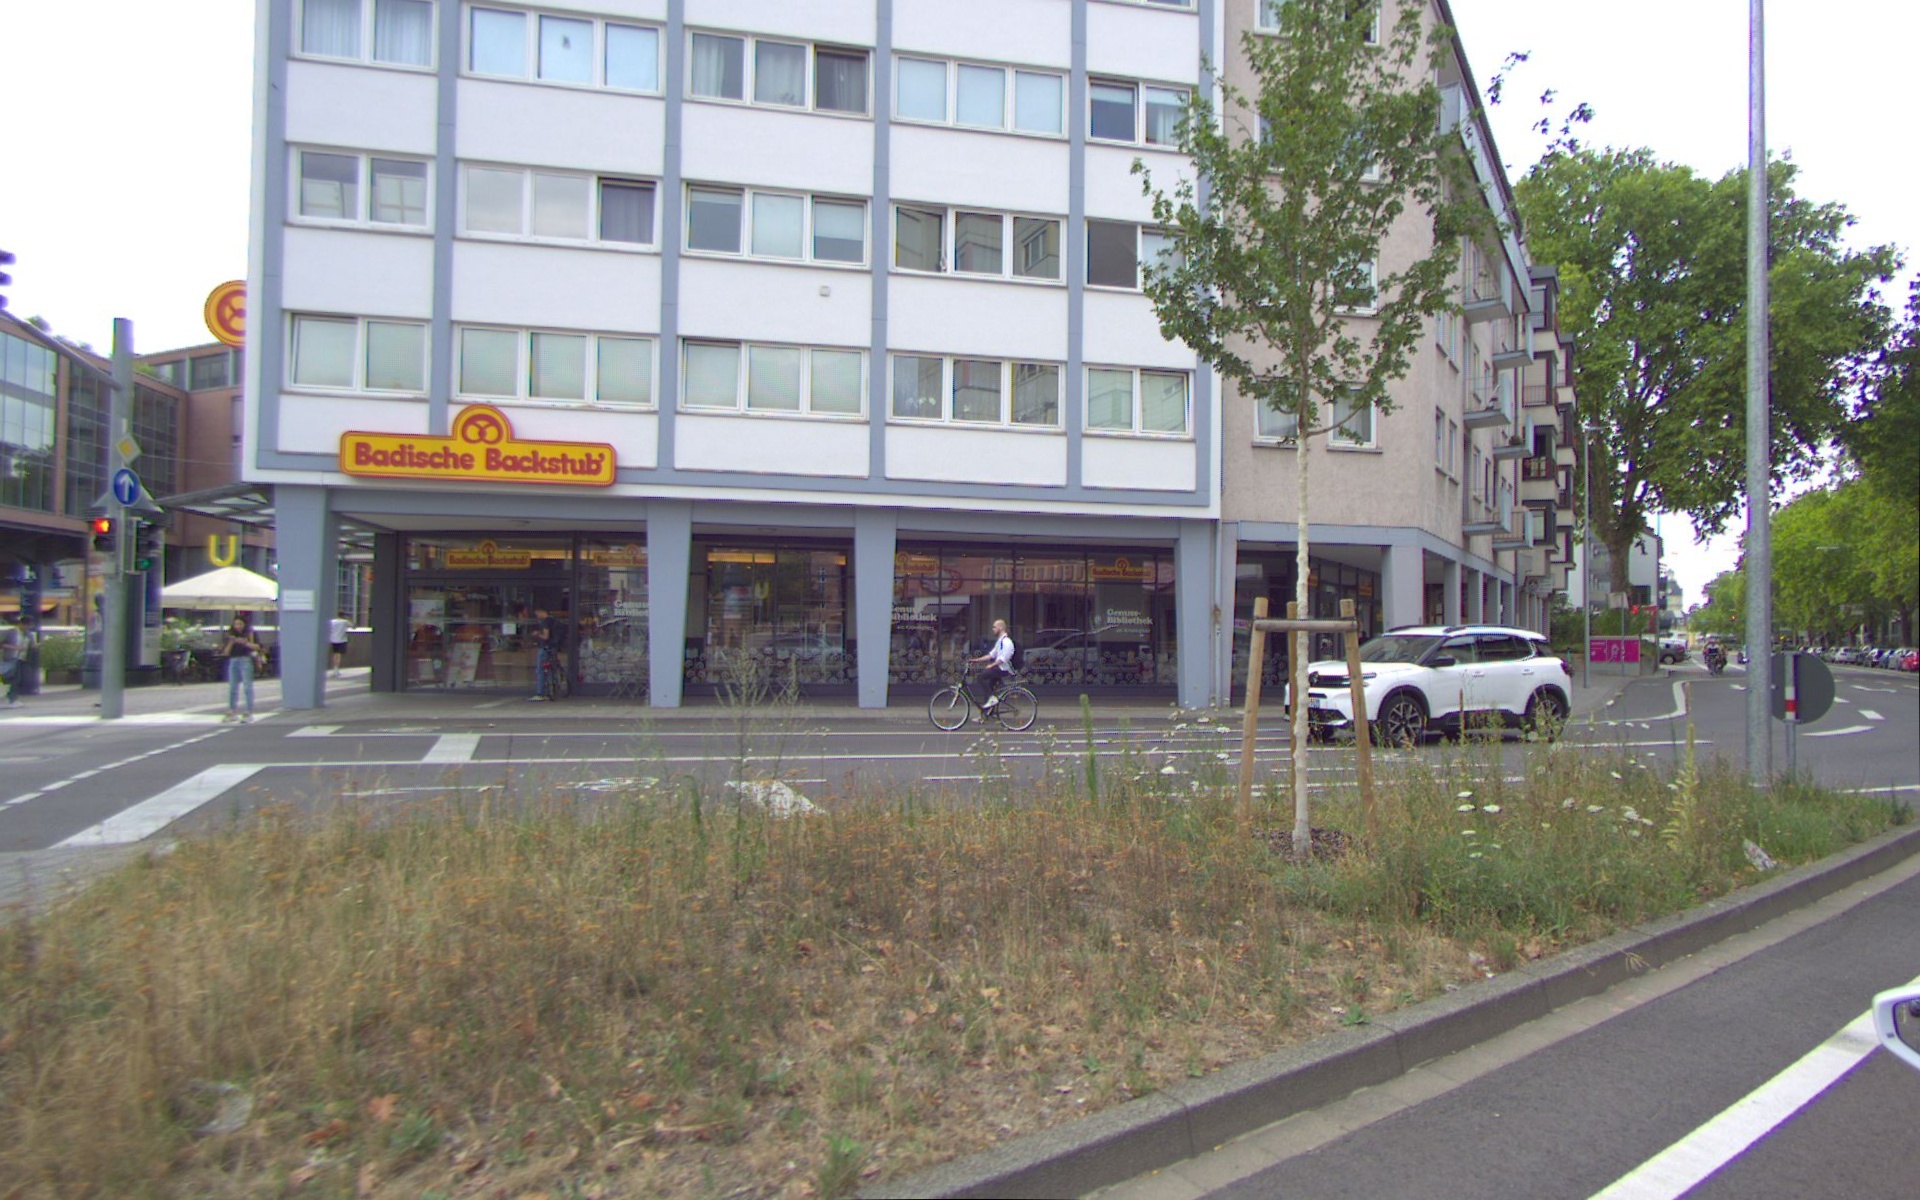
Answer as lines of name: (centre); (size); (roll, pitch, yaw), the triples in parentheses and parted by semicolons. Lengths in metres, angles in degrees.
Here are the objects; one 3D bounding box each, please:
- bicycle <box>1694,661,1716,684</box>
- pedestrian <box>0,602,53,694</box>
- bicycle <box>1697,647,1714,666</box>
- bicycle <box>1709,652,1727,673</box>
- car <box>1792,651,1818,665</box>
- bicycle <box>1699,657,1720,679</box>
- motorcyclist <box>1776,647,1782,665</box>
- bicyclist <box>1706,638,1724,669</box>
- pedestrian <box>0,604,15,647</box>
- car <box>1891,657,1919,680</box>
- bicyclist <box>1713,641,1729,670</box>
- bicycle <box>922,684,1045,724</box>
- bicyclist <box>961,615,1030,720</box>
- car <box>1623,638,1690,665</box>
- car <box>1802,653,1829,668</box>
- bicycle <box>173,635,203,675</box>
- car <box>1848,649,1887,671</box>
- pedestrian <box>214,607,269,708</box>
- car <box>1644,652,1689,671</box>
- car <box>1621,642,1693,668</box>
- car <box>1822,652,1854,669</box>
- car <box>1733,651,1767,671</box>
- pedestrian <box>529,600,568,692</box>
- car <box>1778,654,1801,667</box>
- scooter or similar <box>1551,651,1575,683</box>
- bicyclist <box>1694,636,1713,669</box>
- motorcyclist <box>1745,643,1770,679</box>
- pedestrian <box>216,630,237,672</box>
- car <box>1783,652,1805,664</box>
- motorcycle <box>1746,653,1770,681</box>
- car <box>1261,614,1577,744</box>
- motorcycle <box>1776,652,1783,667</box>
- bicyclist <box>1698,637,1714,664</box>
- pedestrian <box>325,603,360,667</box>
bicycle: (35.908, 3.474, 48.427); (0.729, 1.020, 1.900); (2, 0, 39)
pedestrian: (-17.039, 0.867, 18.248); (0.649, 1.615, 0.686); (0, -2, 37)
bicycle: (43.530, 3.288, 58.631); (0.728, 1.020, 2.186); (2, 0, 38)
bicycle: (41.765, 3.432, 55.362); (0.728, 1.020, 1.968); (2, 0, 38)
car: (90.850, 6.217, 108.002); (1.618, 1.413, 3.505); (3, -1, 32)
bicycle: (38.531, 3.465, 51.605); (0.729, 1.020, 2.241); (2, 0, 39)
motorcyclist: (76.405, 5.204, 93.690); (0.440, 1.668, 0.518); (0, -2, 36)
bicyclist: (38.769, 2.726, 51.597); (0.649, 1.545, 0.837); (2, 0, 40)
pedestrian: (-38.141, 1.007, 39.939); (0.570, 1.685, 0.520); (1, -2, -9)
car: (59.694, 4.286, 62.698); (1.653, 1.412, 4.448); (1, -2, 34)
bicyclist: (42.018, 3.057, 55.478); (0.649, 1.545, 0.852); (2, 0, 40)
bicycle: (0.385, 1.708, 16.494); (1.961, 0.596, 0.484); (1, -2, -7)
bicyclist: (0.577, 1.097, 16.457); (1.018, 1.667, 0.609); (1, -2, -7)
car: (57.553, 4.227, 83.009); (4.468, 1.903, 2.039); (2, -1, 37)
car: (88.349, 6.207, 103.779); (1.618, 1.432, 3.409); (0, -2, 32)
bicycle: (-19.942, 1.408, 25.963); (0.468, 1.002, 1.772); (2, -2, -34)
car: (68.327, 4.519, 75.695); (1.608, 1.489, 4.305); (1, -2, 34)
pedestrian: (-11.412, 0.912, 15.966); (0.510, 1.579, 0.498); (2, -2, -17)
car: (64.666, 5.602, 92.003); (3.297, 1.516, 1.592); (2, -2, 34)
car: (50.966, 3.973, 73.460); (4.202, 1.627, 1.961); (2, 0, 37)
car: (79.436, 5.487, 90.917); (1.653, 1.412, 4.448); (1, -2, 34)
car: (60.249, 4.618, 76.662); (1.786, 1.426, 4.594); (0, -3, 35)
pedestrian: (-8.126, 0.899, 19.842); (0.578, 1.788, 0.476); (1, -2, -10)
car: (96.084, 7.026, 116.365); (1.653, 1.412, 3.868); (1, -2, 34)
scooter or similar: (25.387, 2.809, 42.271); (0.281, 1.281, 1.177); (1, -2, -1)
bicyclist: (35.870, 2.528, 48.428); (0.649, 1.545, 0.997); (2, 0, 40)
motorcyclist: (33.232, 2.560, 41.868); (0.786, 1.479, 0.862); (-3, -4, 38)
pedestrian: (-20.712, 1.433, 28.352); (0.438, 1.148, 0.530); (2, -2, -38)
car: (99.813, 6.964, 120.220); (1.653, 1.412, 3.868); (1, -2, 34)
motorcycle: (33.219, 2.796, 41.827); (0.713, 1.109, 2.028); (-3, -5, 38)
car: (6.715, 1.115, 14.697); (4.262, 1.681, 1.828); (2, -2, -23)
motorcycle: (76.394, 5.521, 93.686); (0.367, 1.367, 1.726); (0, -3, 35)
bicyclist: (43.727, 2.936, 58.867); (0.649, 1.545, 1.071); (2, 0, 40)
pedestrian: (-18.413, 1.044, 29.964); (0.570, 1.883, 0.863); (1, -2, -10)
